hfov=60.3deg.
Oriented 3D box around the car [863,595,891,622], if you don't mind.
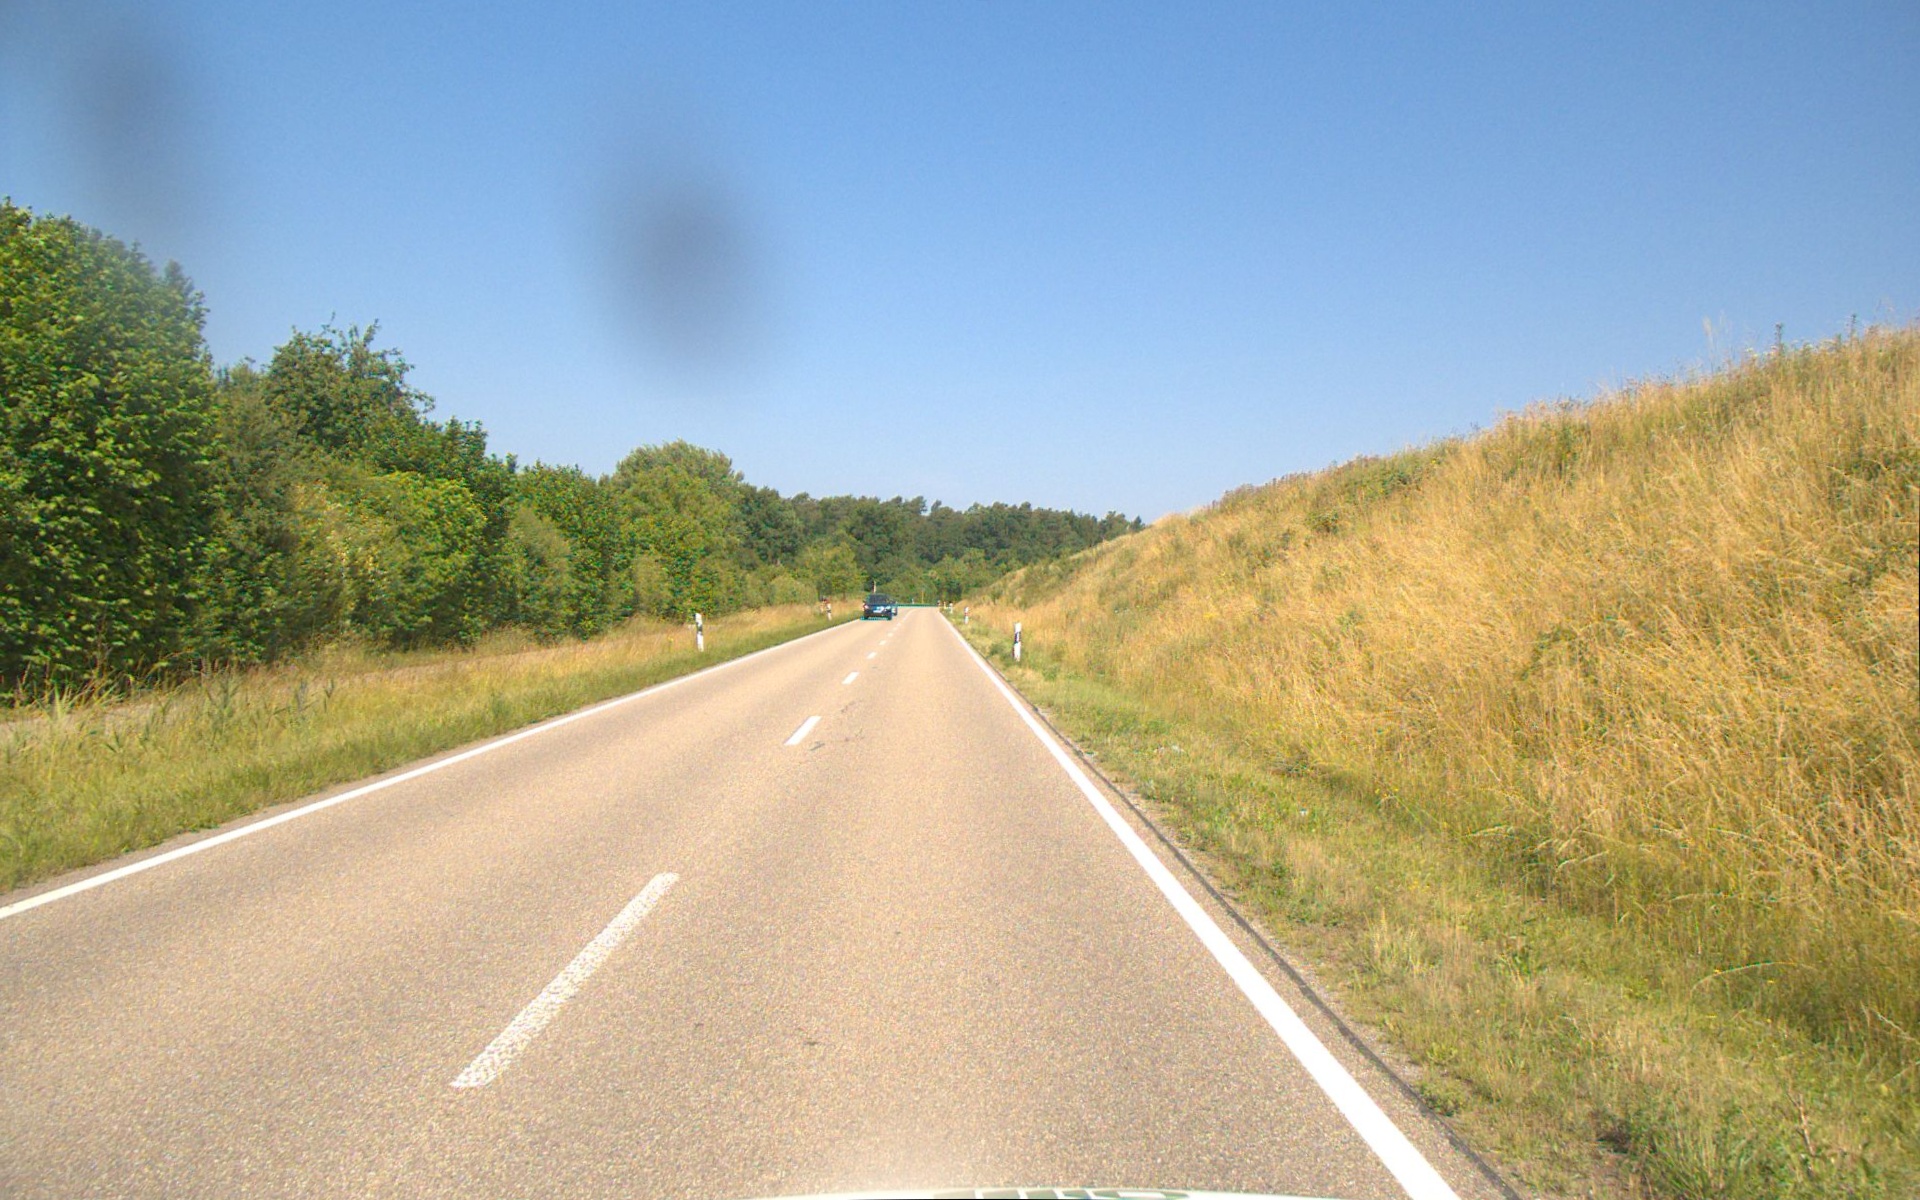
[{"bbox_3d":[-5.335,0.533,106.354,1.681,1.675,3.913,1,0,-2],"label":"car"}]
